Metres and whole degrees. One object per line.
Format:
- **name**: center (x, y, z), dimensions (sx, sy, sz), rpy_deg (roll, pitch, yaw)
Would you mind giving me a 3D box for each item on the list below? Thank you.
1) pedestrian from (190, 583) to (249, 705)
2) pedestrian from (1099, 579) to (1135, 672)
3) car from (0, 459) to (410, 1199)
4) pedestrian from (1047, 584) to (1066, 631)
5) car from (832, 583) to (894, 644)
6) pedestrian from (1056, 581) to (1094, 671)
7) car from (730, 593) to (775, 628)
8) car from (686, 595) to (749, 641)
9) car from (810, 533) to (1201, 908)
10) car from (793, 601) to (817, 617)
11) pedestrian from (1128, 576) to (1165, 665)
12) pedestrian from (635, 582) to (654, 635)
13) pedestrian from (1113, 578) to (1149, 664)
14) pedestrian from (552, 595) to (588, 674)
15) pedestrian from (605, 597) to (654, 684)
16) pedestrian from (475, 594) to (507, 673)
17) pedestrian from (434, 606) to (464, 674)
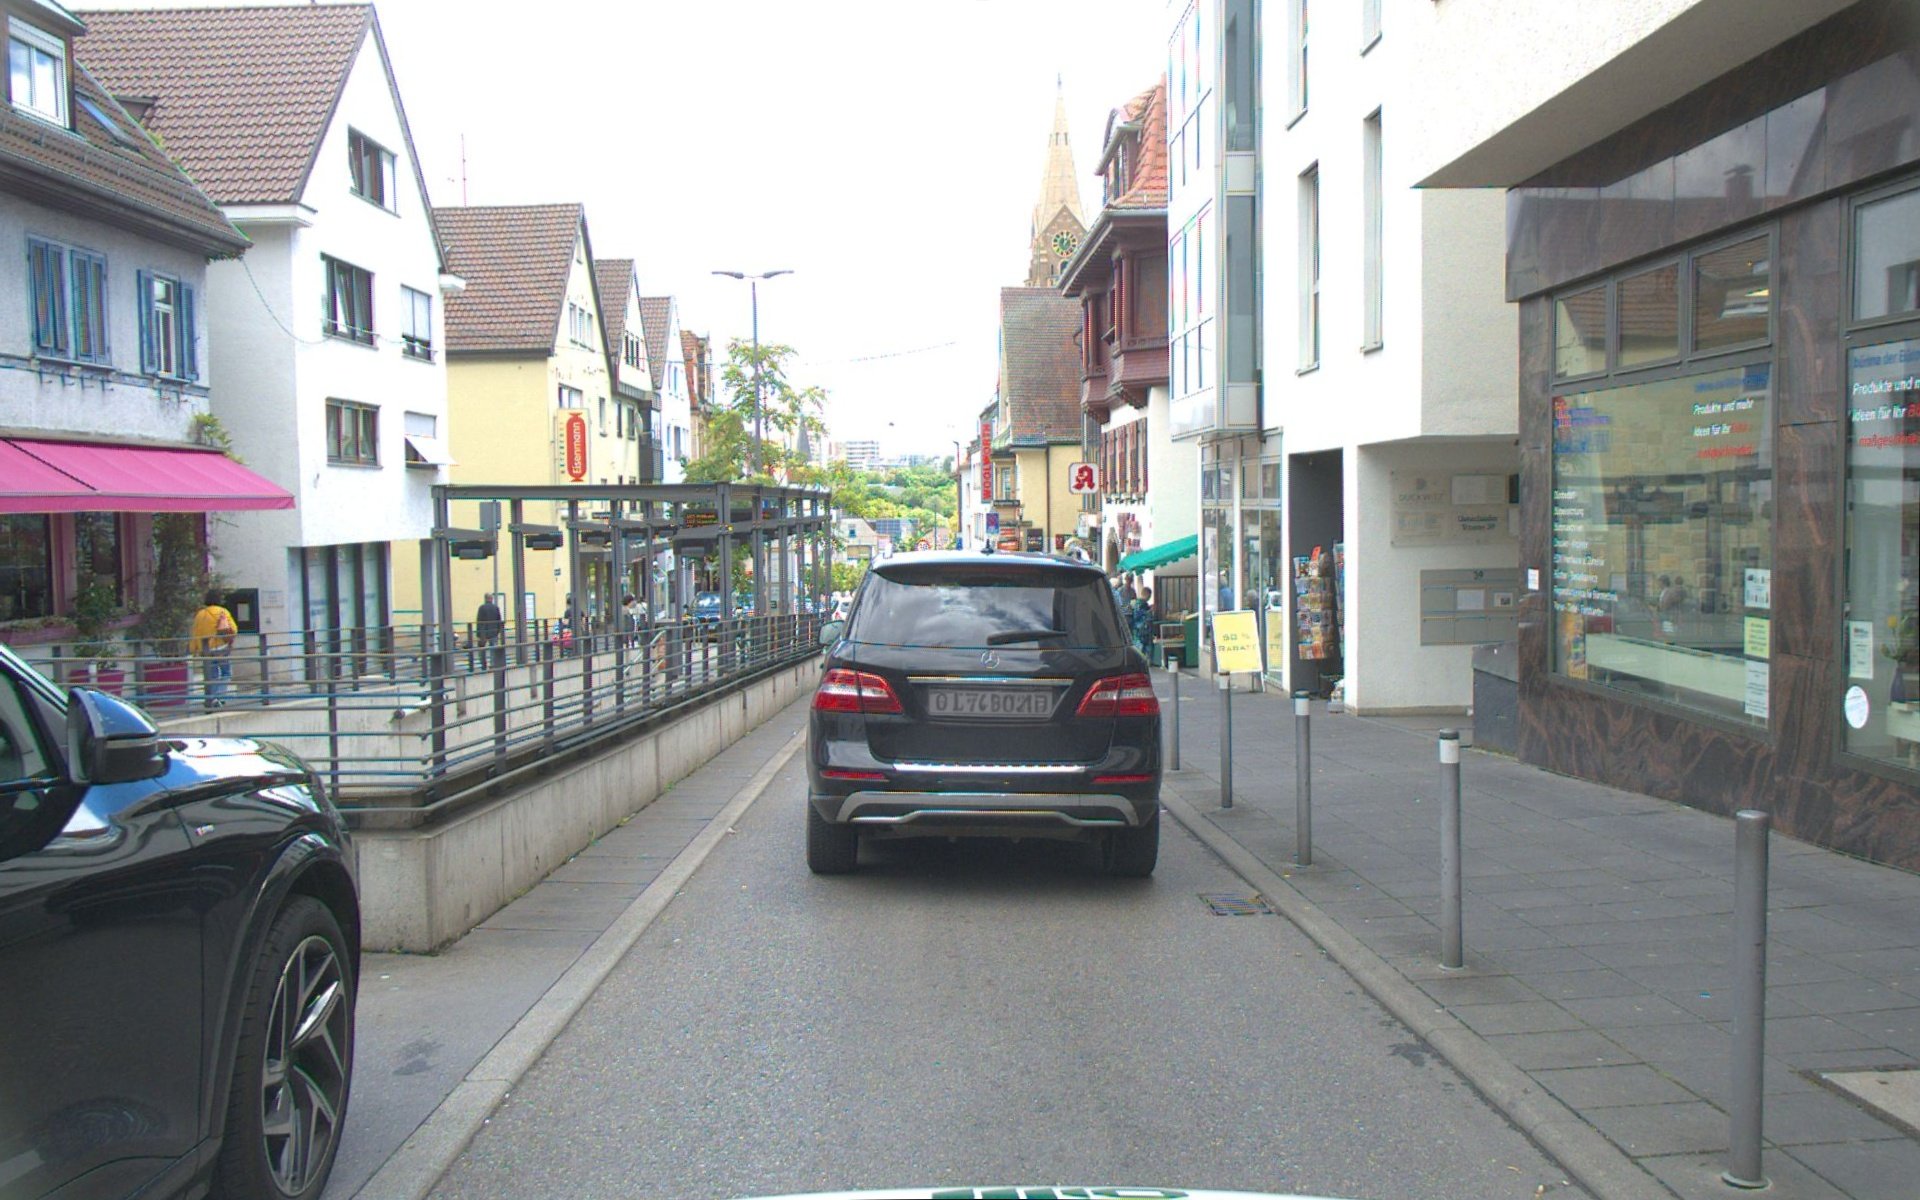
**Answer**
- **pedestrian**: center (-10.597, 0.620, 23.690), dimensions (0.566, 1.718, 0.576), rpy_deg (1, 0, -2)
- **pedestrian**: center (2.985, 0.477, 31.469), dimensions (0.532, 1.756, 0.527), rpy_deg (-1, 0, -8)
- **car**: center (-2.308, 0.624, 2.090), dimensions (1.917, 1.668, 4.312), rpy_deg (1, 0, -2)
- **pedestrian**: center (3.555, 0.275, 60.984), dimensions (0.594, 1.718, 0.724), rpy_deg (-1, 0, -2)
- **car**: center (-2.912, 0.382, 50.180), dimensions (1.734, 1.743, 3.999), rpy_deg (1, 0, -2)
- **pedestrian**: center (2.220, 0.492, 31.975), dimensions (0.609, 1.718, 0.565), rpy_deg (1, 0, -8)
- **car**: center (-9.377, 0.456, 75.040), dimensions (1.627, 1.516, 3.747), rpy_deg (1, 0, -1)
- **car**: center (-8.439, 0.595, 57.906), dimensions (1.655, 1.516, 3.978), rpy_deg (1, 0, -1)
- **car**: center (0.124, 0.578, 9.949), dimensions (1.863, 1.777, 3.998), rpy_deg (1, 0, -3)
- **car**: center (-10.763, 0.620, 114.854), dimensions (1.360, 1.089, 3.112), rpy_deg (-1, 0, -1)
- **pedestrian**: center (3.706, 0.402, 32.825), dimensions (0.562, 1.718, 0.565), rpy_deg (-2, 0, -8)
- **pedestrian**: center (-10.415, 0.283, 54.664), dimensions (0.502, 1.718, 0.541), rpy_deg (1, 0, -2)
- **pedestrian**: center (3.490, 0.426, 33.745), dimensions (0.562, 1.718, 0.565), rpy_deg (-2, 0, -8)
- **pedestrian**: center (-8.640, 0.765, 36.645), dimensions (0.613, 1.718, 0.678), rpy_deg (1, 0, -2)
- **pedestrian**: center (-6.688, 0.807, 33.460), dimensions (0.757, 1.718, 0.720), rpy_deg (1, 0, -30)
- **pedestrian**: center (-10.301, 0.729, 36.326), dimensions (0.601, 1.718, 0.561), rpy_deg (1, 0, -12)
- **pedestrian**: center (-10.945, 0.851, 35.443), dimensions (0.447, 1.446, 0.533), rpy_deg (1, 0, 1)
